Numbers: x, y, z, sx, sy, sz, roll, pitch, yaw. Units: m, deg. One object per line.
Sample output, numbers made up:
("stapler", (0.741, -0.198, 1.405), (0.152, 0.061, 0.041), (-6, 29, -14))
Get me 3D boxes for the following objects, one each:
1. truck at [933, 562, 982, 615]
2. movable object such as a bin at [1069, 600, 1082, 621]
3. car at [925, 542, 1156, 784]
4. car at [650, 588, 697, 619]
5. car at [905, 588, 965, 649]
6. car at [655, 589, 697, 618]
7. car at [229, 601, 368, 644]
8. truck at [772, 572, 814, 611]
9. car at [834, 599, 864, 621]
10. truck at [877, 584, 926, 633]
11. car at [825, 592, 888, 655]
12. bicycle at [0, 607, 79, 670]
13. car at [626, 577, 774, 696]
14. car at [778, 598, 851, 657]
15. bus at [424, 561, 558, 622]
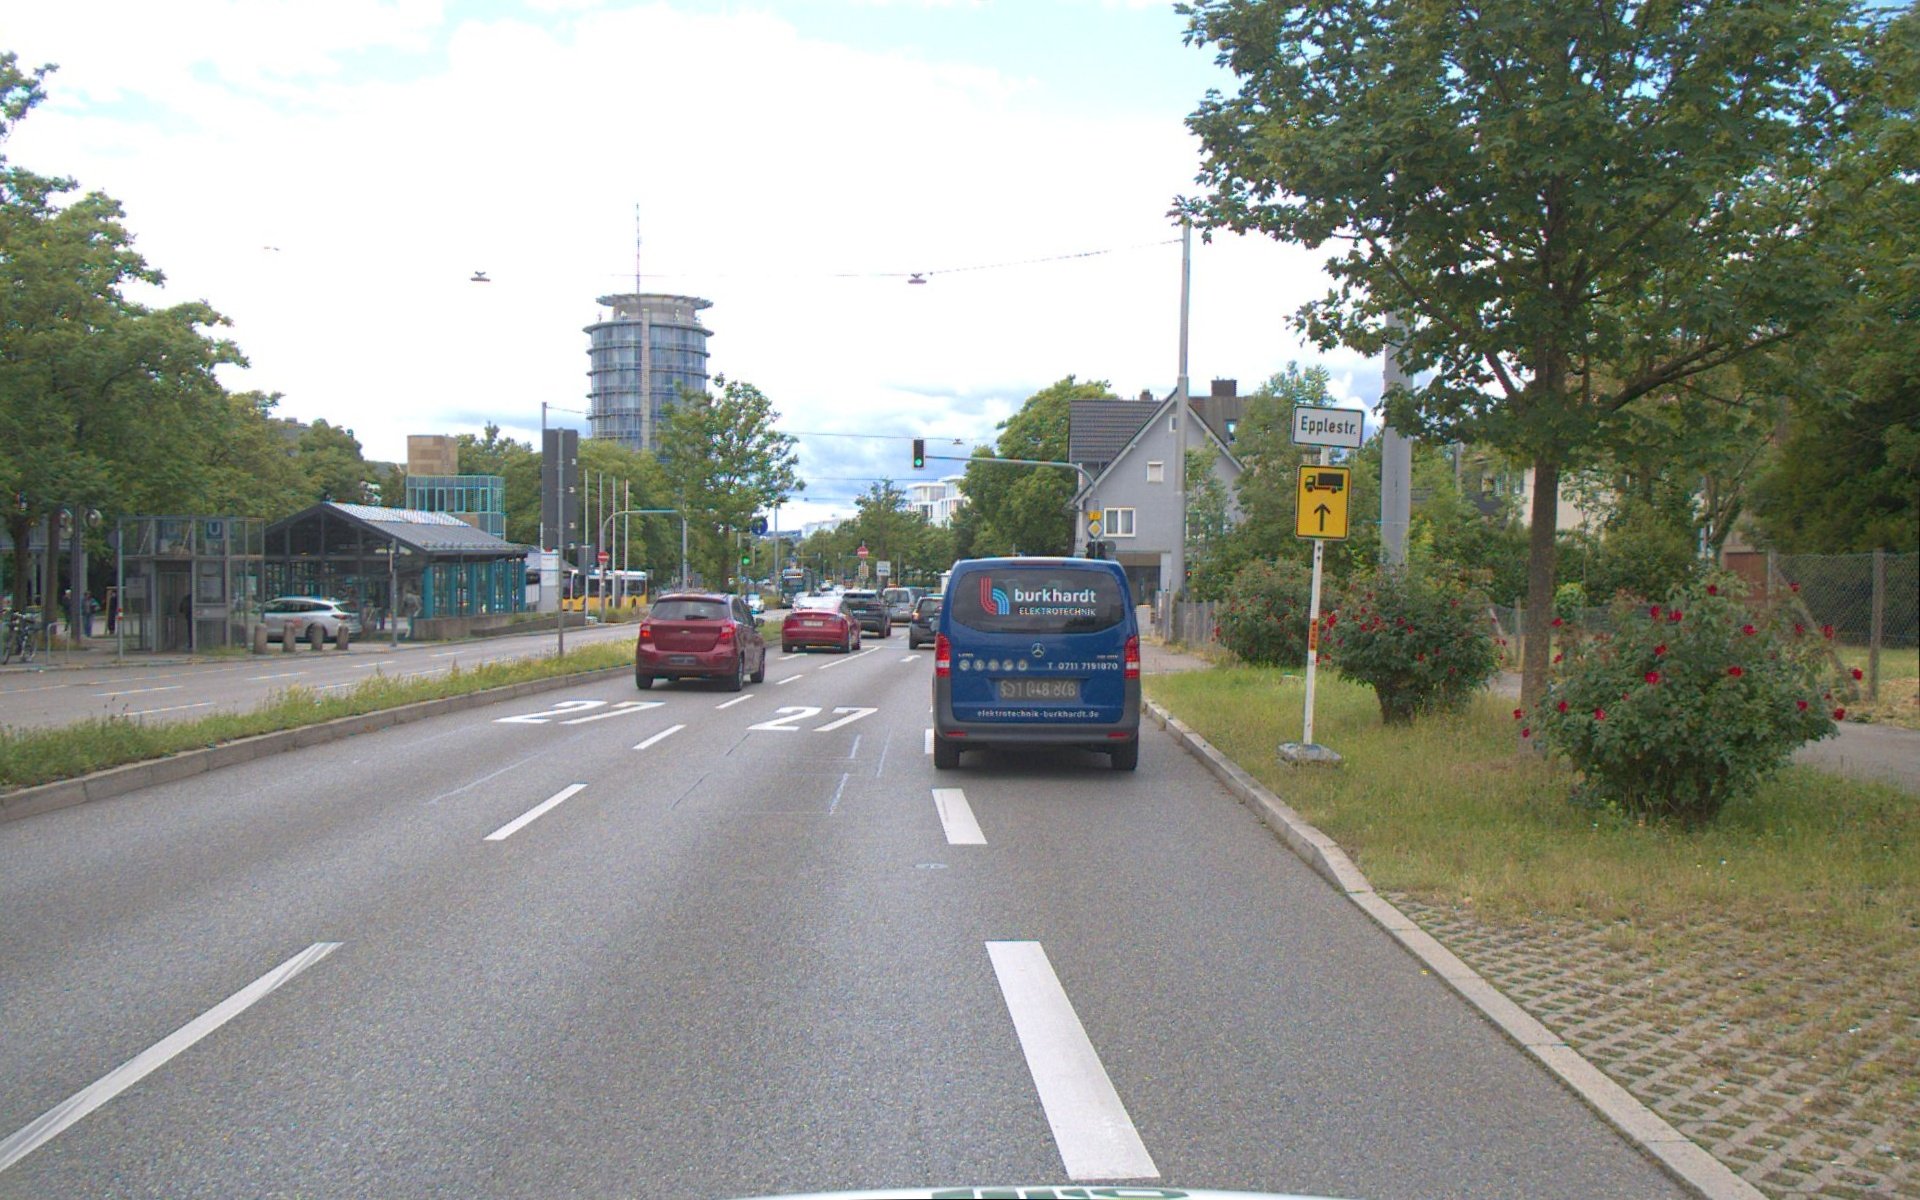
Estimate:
("truck", (-0.067, -0.494, 74.695), (1.952, 2.203, 5.560), (2, 0, 2))
("movable object such as a bin", (6.190, 0.554, 88.712), (0.585, 1.120, 0.573), (0, 0, -6))
("car", (0.696, 0.534, 16.134), (1.908, 2.000, 4.541), (1, 0, 0))
("car", (-16.346, 0.199, 94.486), (1.712, 1.543, 4.001), (-7, 0, 2))
("car", (-0.758, 0.535, 49.683), (1.711, 1.754, 3.999), (0, 0, -1))
("car", (-16.201, 0.185, 94.532), (1.590, 1.601, 4.001), (0, 0, 2))
("car", (-21.737, 0.711, 54.485), (3.915, 1.378, 1.995), (0, 0, -10))
("truck", (-17.242, -0.811, 171.255), (3.299, 3.792, 11.277), (1, 0, -1))
("car", (-10.781, 0.945, 160.793), (1.951, 2.049, 4.183), (0, 0, 10))
("truck", (-2.796, 0.388, 80.172), (1.952, 2.203, 5.560), (2, 0, 2))
("car", (-3.685, 0.781, 58.277), (1.956, 2.048, 3.994), (1, 1, -7))
("bicycle", (-20.722, 0.832, 36.755), (1.031, 1.293, 2.424), (2, 0, -2))
("car", (-4.192, 0.553, 27.253), (1.710, 1.753, 4.000), (2, 0, 0))
("car", (-4.005, 0.767, 45.005), (1.833, 1.512, 3.993), (0, -2, -7))
("bus", (-26.467, -0.398, 94.121), (2.894, 3.188, 12.168), (1, 0, 6))
